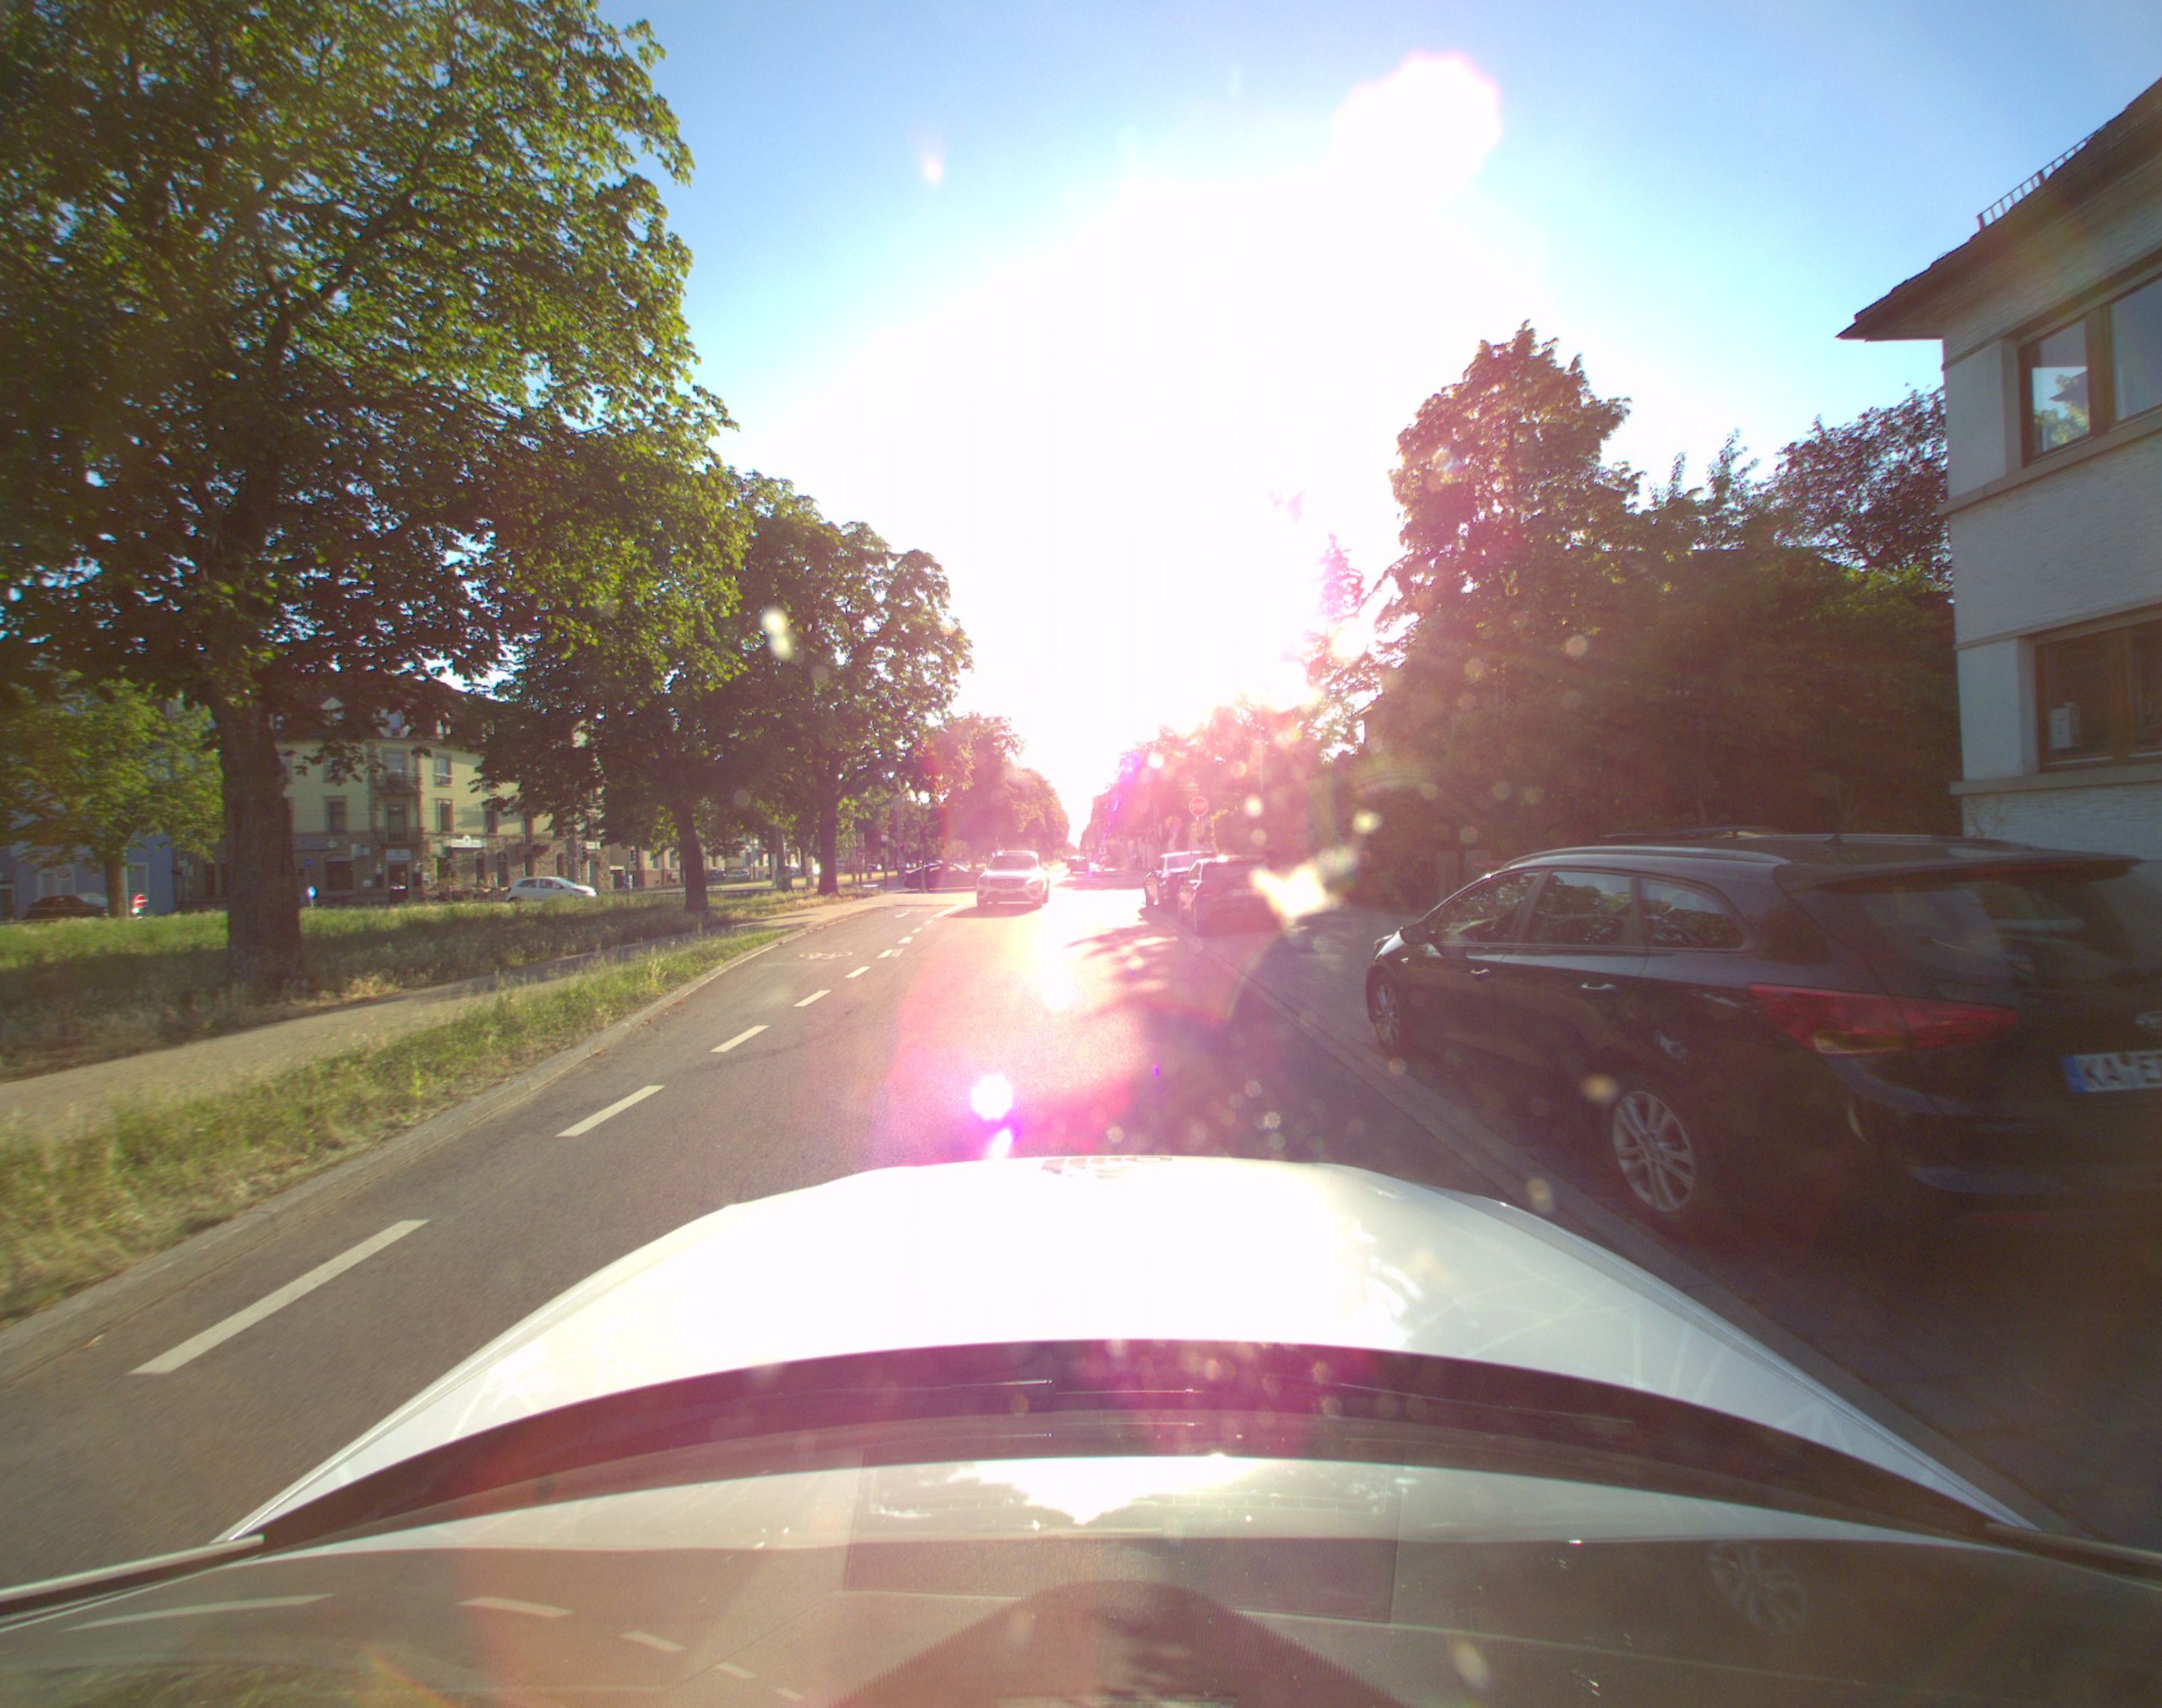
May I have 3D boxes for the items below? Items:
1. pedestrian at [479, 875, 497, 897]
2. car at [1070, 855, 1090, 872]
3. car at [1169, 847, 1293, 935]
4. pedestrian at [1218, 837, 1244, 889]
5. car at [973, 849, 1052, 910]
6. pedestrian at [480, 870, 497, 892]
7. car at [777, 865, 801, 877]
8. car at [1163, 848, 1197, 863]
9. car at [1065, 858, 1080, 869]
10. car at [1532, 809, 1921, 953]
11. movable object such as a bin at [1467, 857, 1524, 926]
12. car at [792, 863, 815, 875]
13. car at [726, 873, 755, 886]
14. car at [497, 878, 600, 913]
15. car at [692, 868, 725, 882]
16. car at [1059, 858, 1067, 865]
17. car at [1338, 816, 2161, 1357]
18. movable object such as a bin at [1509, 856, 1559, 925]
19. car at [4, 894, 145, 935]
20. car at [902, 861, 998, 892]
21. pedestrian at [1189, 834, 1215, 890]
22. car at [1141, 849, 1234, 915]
[{"bbox_3d":[-45.454,2.426,62.408,0.808,1.642,0.727,-2,0,8],"label":"pedestrian"},{"bbox_3d":[-0.032,0.797,72.906,1.635,1.451,3.309,-1,0,2],"label":"car"},{"bbox_3d":[2.822,0.652,16.158,1.636,1.427,3.935,-4,0,-1],"label":"car"},{"bbox_3d":[5.026,0.295,27.288,0.667,1.708,0.622,-1,0,-3],"label":"pedestrian"},{"bbox_3d":[-1.998,0.708,24.871,1.884,1.676,4.426,-1,0,2],"label":"car"},{"bbox_3d":[-44.734,2.035,61.488,0.723,1.642,0.813,-1,0,-9],"label":"pedestrian"},{"bbox_3d":[-37.633,2.208,105.049,1.732,1.427,3.792,-2,0,0],"label":"car"},{"bbox_3d":[11.421,0.163,94.192,3.768,1.525,1.743,-2,1,-1],"label":"car"},{"bbox_3d":[-1.105,1.190,106.877,1.839,1.394,3.829,-1,0,0],"label":"car"},{"bbox_3d":[8.209,0.320,10.613,3.623,1.496,1.781,-4,0,-1],"label":"car"},{"bbox_3d":[6.526,0.578,12.848,0.507,1.043,0.657,-1,0,-6],"label":"movable object such as a bin"},{"bbox_3d":[-37.746,2.037,110.959,1.732,1.427,3.792,-2,1,0],"label":"car"},{"bbox_3d":[-43.052,3.190,102.958,1.729,1.427,3.799,-1,1,6],"label":"car"},{"bbox_3d":[-25.401,1.978,38.956,3.689,1.488,1.734,-1,0,-12],"label":"car"},{"bbox_3d":[-43.642,2.425,95.515,1.729,1.397,3.799,-1,1,6],"label":"car"},{"bbox_3d":[-5.002,2.067,223.426,2.127,2.013,3.901,-1,0,0],"label":"car"},{"bbox_3d":[2.981,0.636,4.415,1.741,1.474,4.253,-1,0,-1],"label":"car"},{"bbox_3d":[7.091,0.560,12.759,0.507,1.043,0.416,-1,0,-6],"label":"movable object such as a bin"},{"bbox_3d":[-43.914,2.620,35.617,3.600,1.497,1.605,-2,0,-14],"label":"car"},{"bbox_3d":[-6.728,1.128,41.877,4.767,1.434,1.807,-1,0,-12],"label":"car"},{"bbox_3d":[4.055,0.269,27.397,0.669,1.865,0.880,-1,-1,-3],"label":"pedestrian"},{"bbox_3d":[2.771,0.683,22.243,1.853,1.542,4.872,-2,0,0],"label":"car"}]
